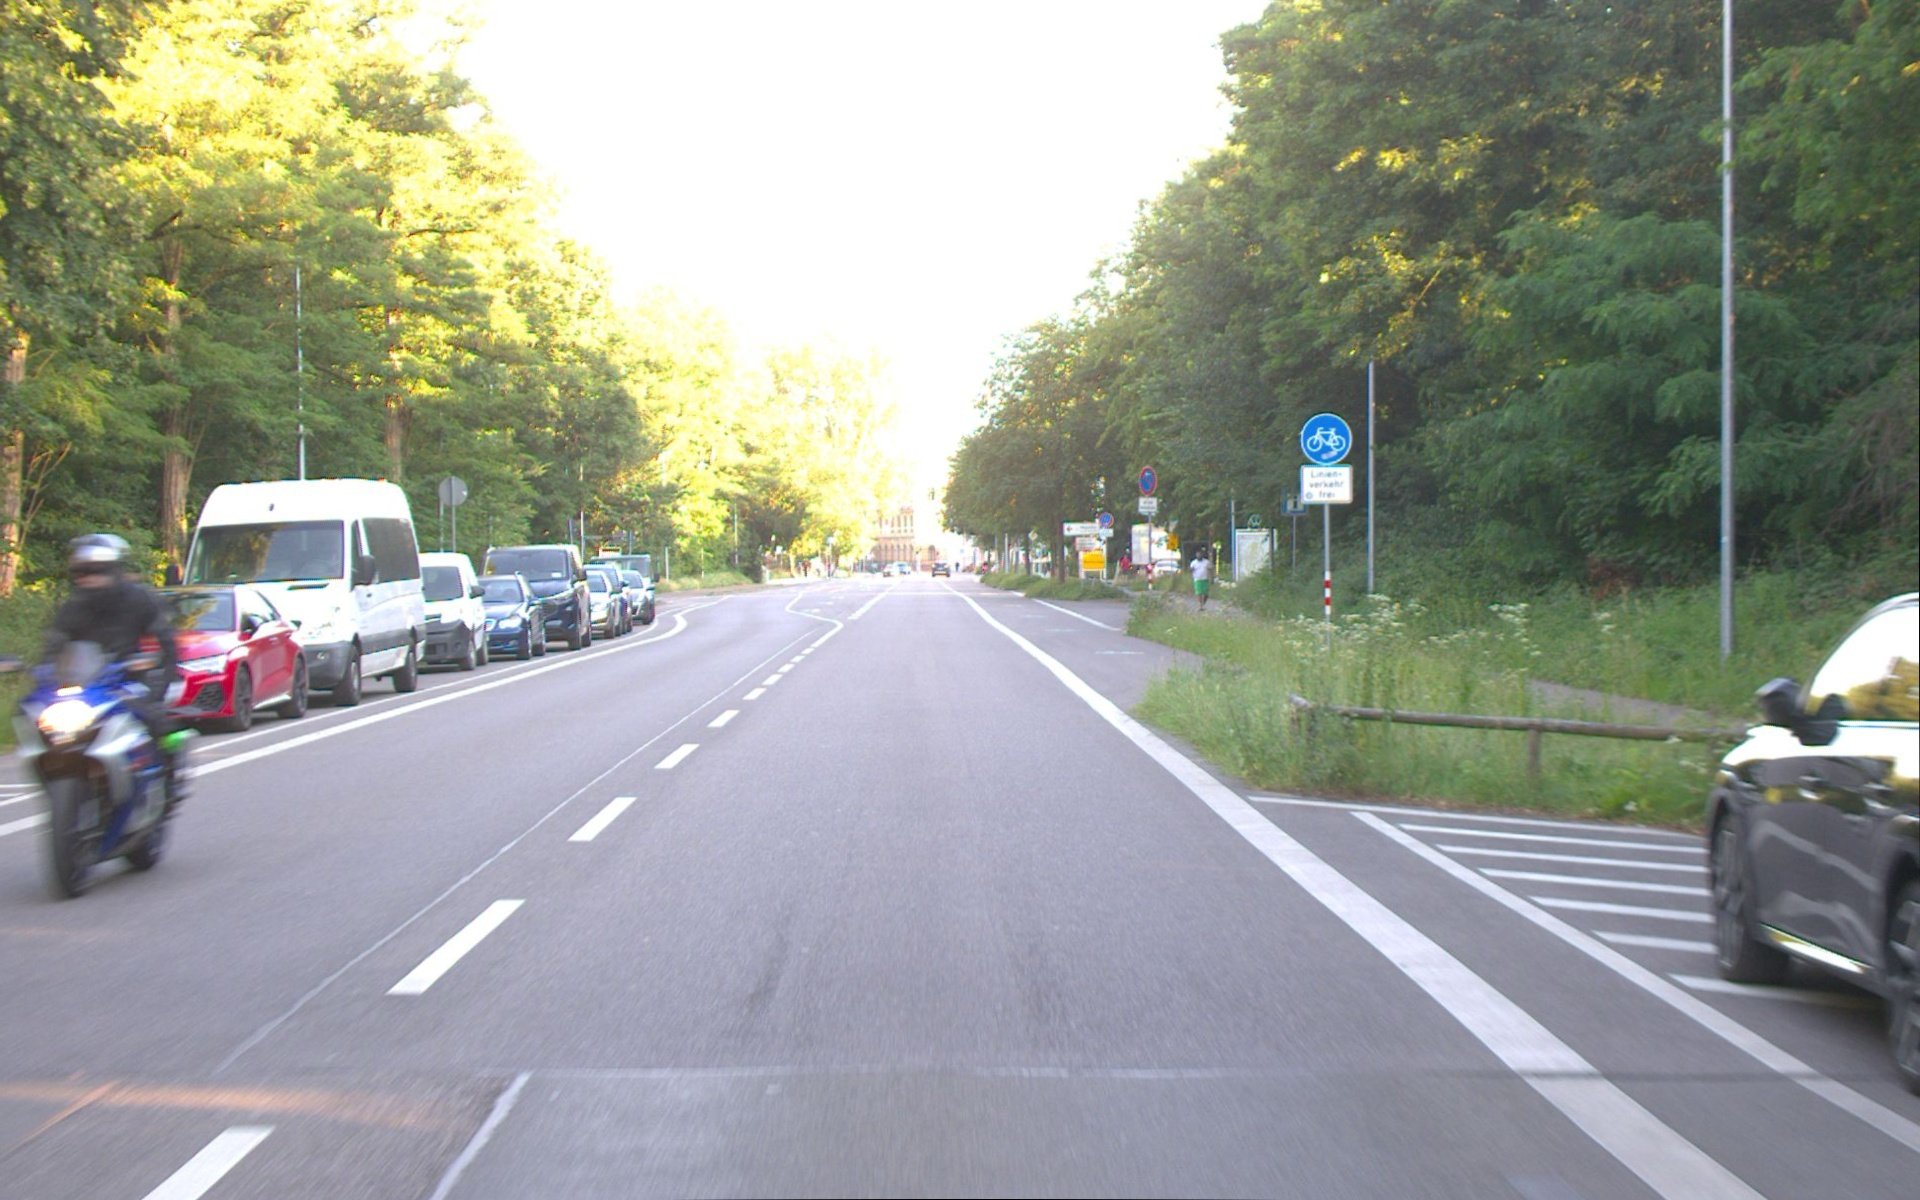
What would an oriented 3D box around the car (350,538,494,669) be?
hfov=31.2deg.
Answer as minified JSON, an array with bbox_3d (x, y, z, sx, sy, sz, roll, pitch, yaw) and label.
[{"bbox_3d":[-8.246,0.075,52.982,1.687,1.852,4.388,-3,0,-3],"label":"car"}]

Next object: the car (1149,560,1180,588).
[{"bbox_3d":[12.215,-1.549,205.558,1.770,1.578,4.818,1,0,3],"label":"car"}]

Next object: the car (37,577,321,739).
[{"bbox_3d":[-7.591,0.517,33.821,1.716,1.425,4.388,-2,1,1],"label":"car"}]

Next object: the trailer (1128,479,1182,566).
[{"bbox_3d":[12.328,-4.868,218.317,3.020,5.443,7.934,0,1,1],"label":"trailer"}]

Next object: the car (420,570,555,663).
[{"bbox_3d":[-7.931,0.244,58.031,1.669,1.428,4.447,-2,1,-1],"label":"car"}]

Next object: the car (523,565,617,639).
[{"bbox_3d":[-8.402,0.030,74.299,1.668,1.496,4.247,-2,1,-2],"label":"car"}]

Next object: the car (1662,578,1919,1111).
[{"bbox_3d":[3.513,0.679,10.838,1.710,1.439,4.122,0,1,0],"label":"car"}]

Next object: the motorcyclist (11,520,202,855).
[{"bbox_3d":[-4.015,0.392,16.229,0.604,1.524,0.995,-1,1,2],"label":"motorcyclist"}]

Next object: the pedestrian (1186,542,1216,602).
[{"bbox_3d":[6.963,-0.812,99.363,0.838,1.745,0.726,0,0,1],"label":"pedestrian"}]

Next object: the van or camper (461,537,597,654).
[{"bbox_3d":[-8.054,-0.118,64.736,2.002,2.011,5.462,-3,1,-2],"label":"van or camper"}]

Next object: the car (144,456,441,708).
[{"bbox_3d":[-7.728,-0.233,40.597,2.079,2.597,7.089,-3,1,-1],"label":"car"}]

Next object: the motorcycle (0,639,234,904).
[{"bbox_3d":[-4.005,0.776,16.329,0.611,1.123,1.961,-1,1,2],"label":"motorcycle"}]

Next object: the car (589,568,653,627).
[{"bbox_3d":[-9.210,-0.082,93.410,1.616,1.529,4.041,-2,1,-6],"label":"car"}]
